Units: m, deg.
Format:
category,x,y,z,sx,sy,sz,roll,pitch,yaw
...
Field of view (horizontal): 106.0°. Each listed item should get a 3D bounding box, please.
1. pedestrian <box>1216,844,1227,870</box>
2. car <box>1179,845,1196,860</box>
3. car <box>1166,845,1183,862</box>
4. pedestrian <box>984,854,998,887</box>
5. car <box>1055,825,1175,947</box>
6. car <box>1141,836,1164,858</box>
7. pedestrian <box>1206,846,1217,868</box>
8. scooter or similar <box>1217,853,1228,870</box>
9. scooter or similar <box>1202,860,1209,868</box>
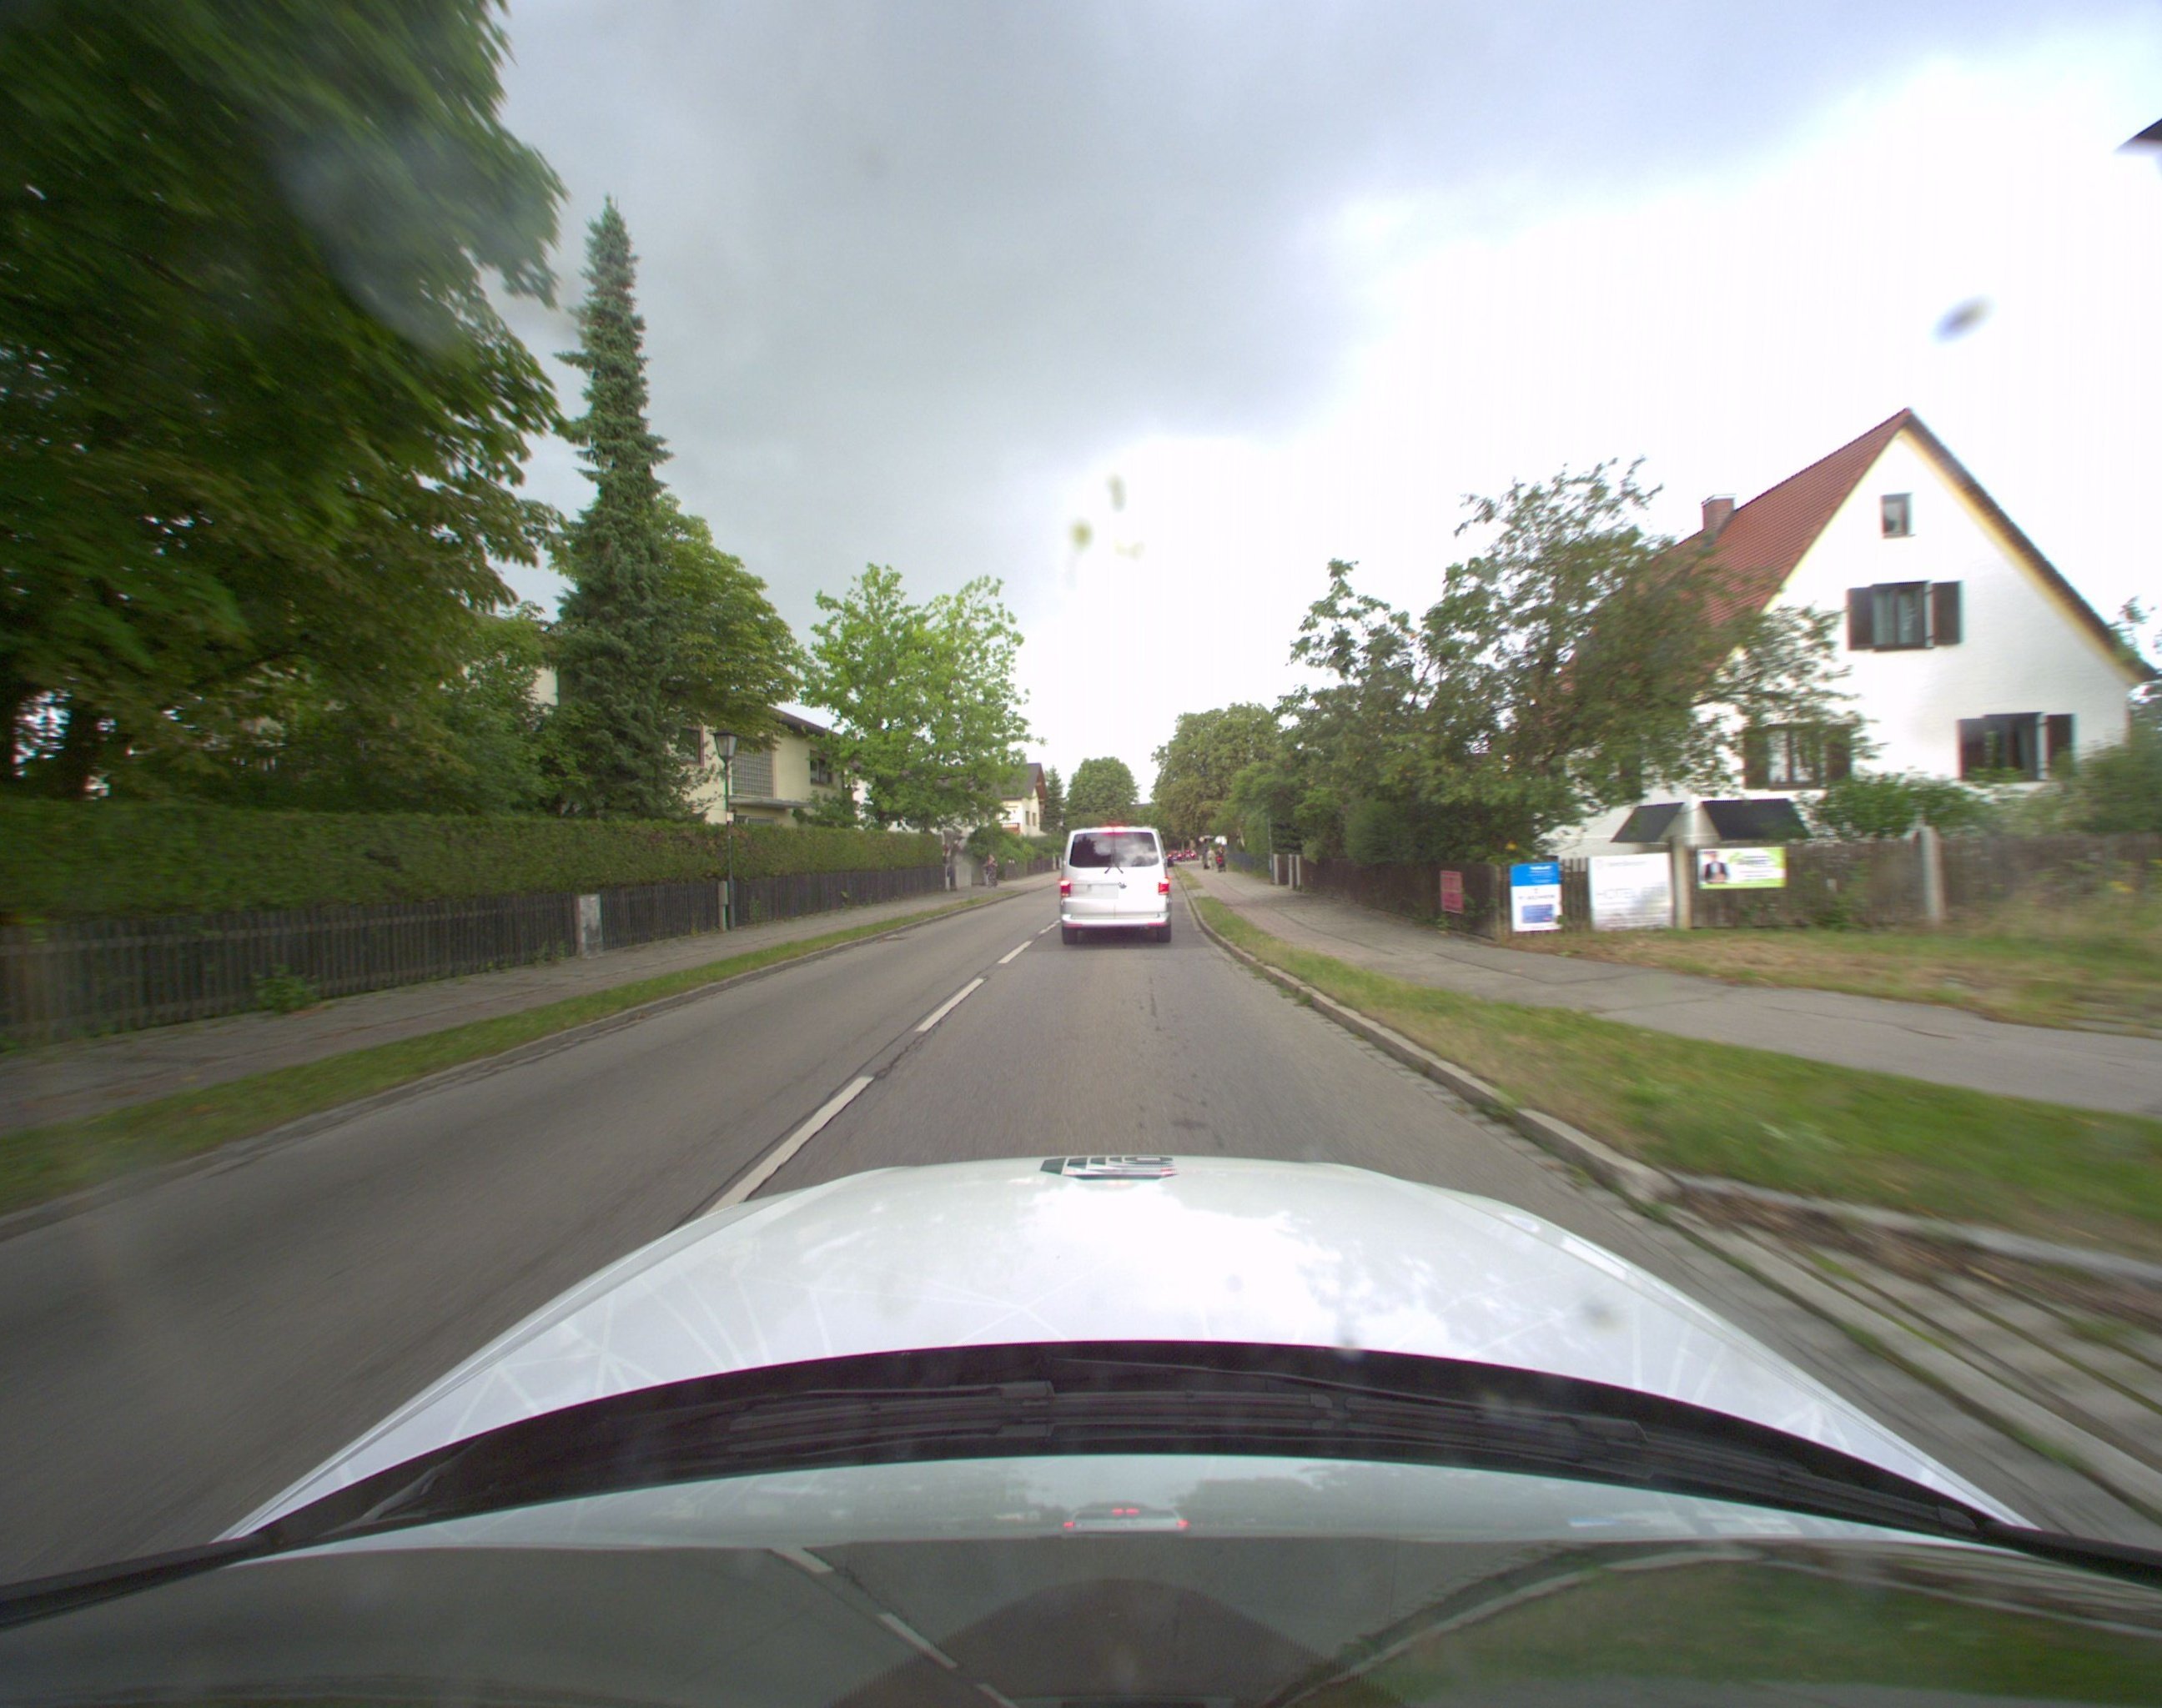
category,x,y,z,sx,sy,sz,roll,pitch,yaw
pedestrian,8.266,0.183,48.026,0.549,1.549,0.612,0,0,1
car,15.160,-0.231,115.396,1.980,2.013,4.013,-2,0,12
car,12.174,-0.062,105.561,1.982,2.013,4.010,-2,0,8
pedestrian,-4.216,0.753,38.257,0.622,1.549,0.520,0,0,-11
car,0.713,0.518,14.975,1.879,1.912,4.005,-1,0,5
car,6.632,-0.618,75.519,1.983,2.013,4.007,0,0,6
pedestrian,8.934,0.193,55.747,0.620,1.523,0.579,0,0,1
scooter or similar,8.215,0.438,47.318,0.549,0.971,0.620,0,0,1
scooter or similar,8.618,0.673,56.416,0.472,0.545,0.459,0,0,1
